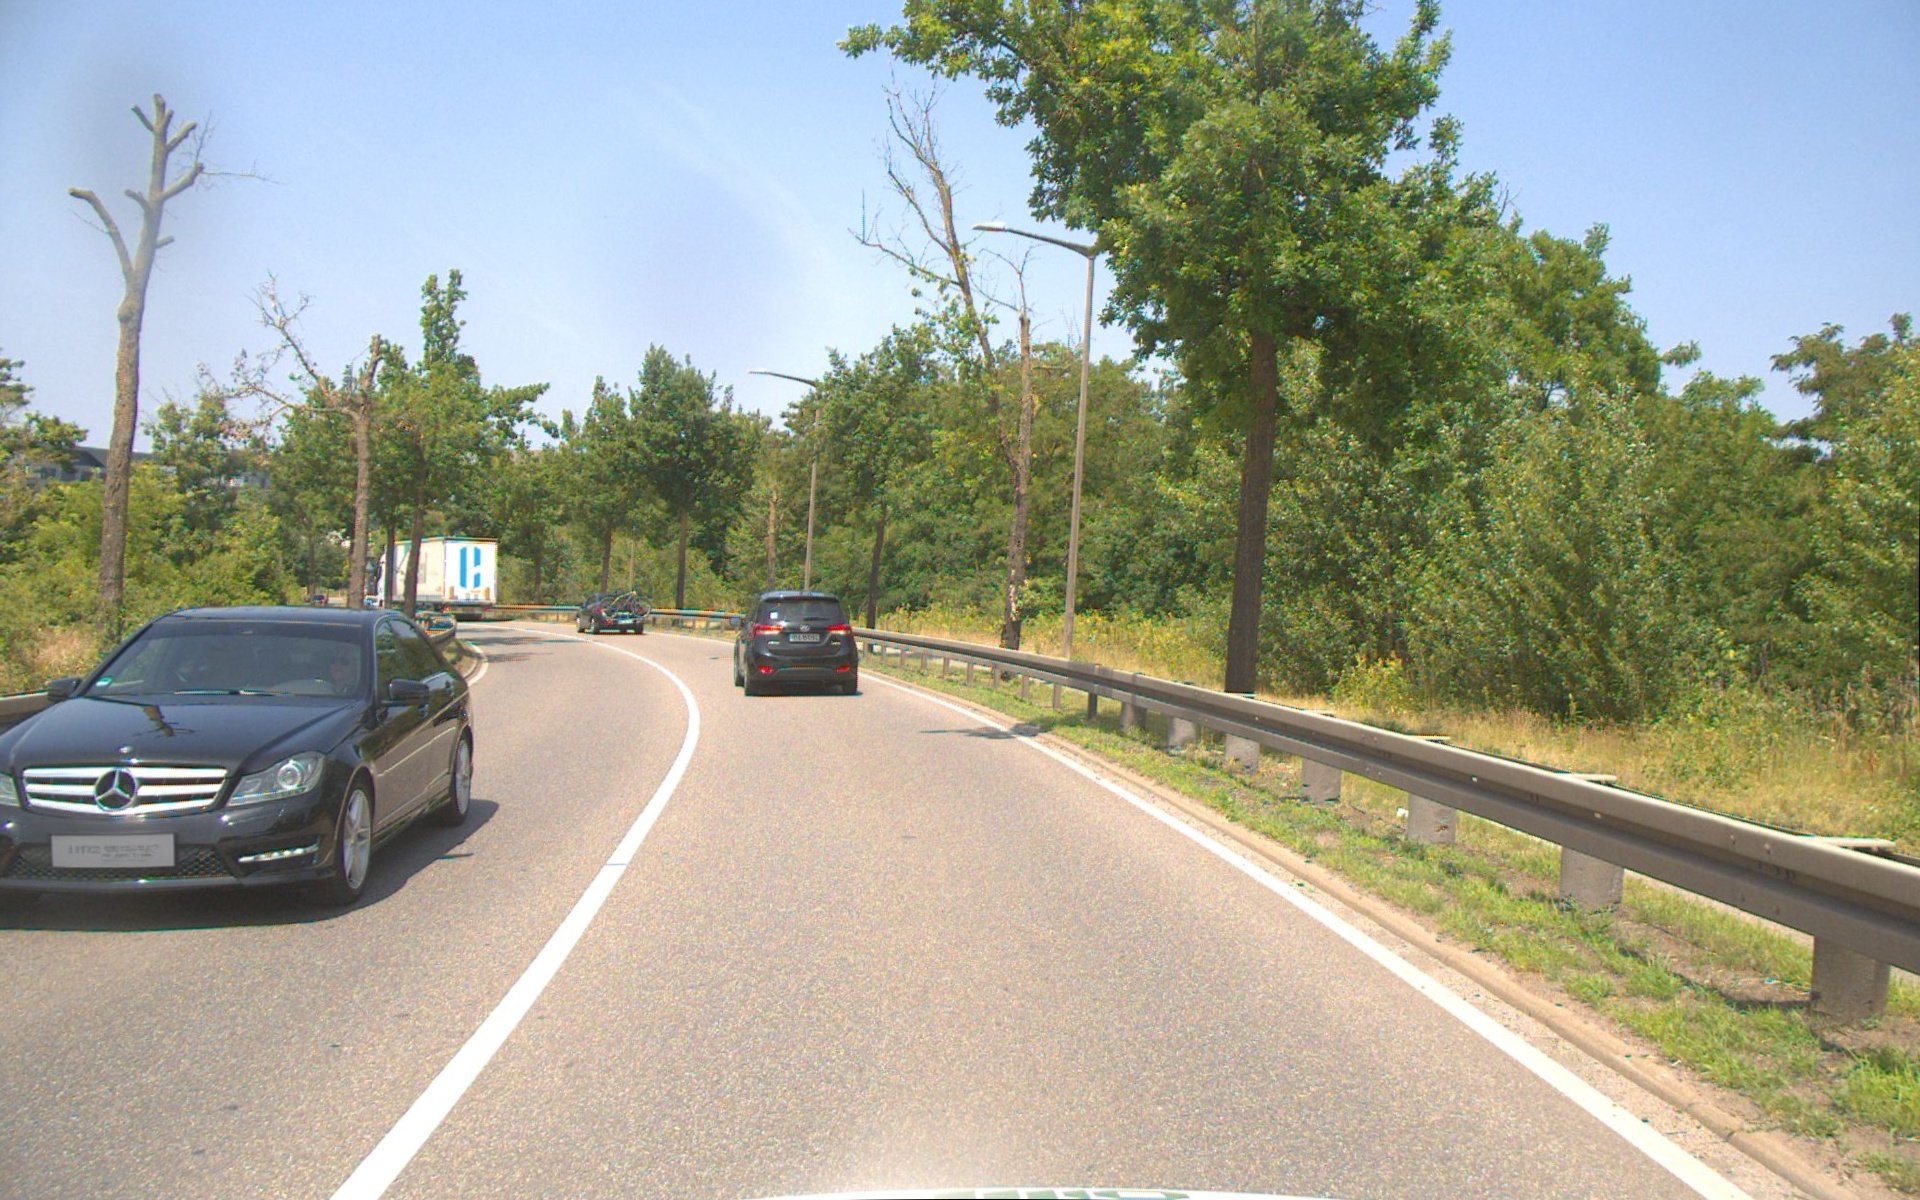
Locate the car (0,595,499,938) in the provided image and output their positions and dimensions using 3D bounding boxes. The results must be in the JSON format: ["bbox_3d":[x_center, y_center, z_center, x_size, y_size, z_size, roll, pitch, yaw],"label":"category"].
[{"bbox_3d":[-3.806,0.722,9.332,1.644,1.468,4.124,0,0,-6],"label":"car"}]

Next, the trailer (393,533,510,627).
[{"bbox_3d":[-26.084,-1.137,84.337,3.530,4.460,11.333,0,2,-29],"label":"trailer"}]

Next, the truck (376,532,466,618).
[{"bbox_3d":[-29.713,-1.415,91.009,3.534,4.518,6.451,0,2,-30],"label":"truck"}]

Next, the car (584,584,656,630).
[{"bbox_3d":[-11.723,0.220,56.895,1.981,1.454,3.757,1,2,-19],"label":"car"}]

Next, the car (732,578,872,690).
[{"bbox_3d":[-2.616,0.487,26.660,1.887,1.601,3.882,1,1,-11],"label":"car"}]
